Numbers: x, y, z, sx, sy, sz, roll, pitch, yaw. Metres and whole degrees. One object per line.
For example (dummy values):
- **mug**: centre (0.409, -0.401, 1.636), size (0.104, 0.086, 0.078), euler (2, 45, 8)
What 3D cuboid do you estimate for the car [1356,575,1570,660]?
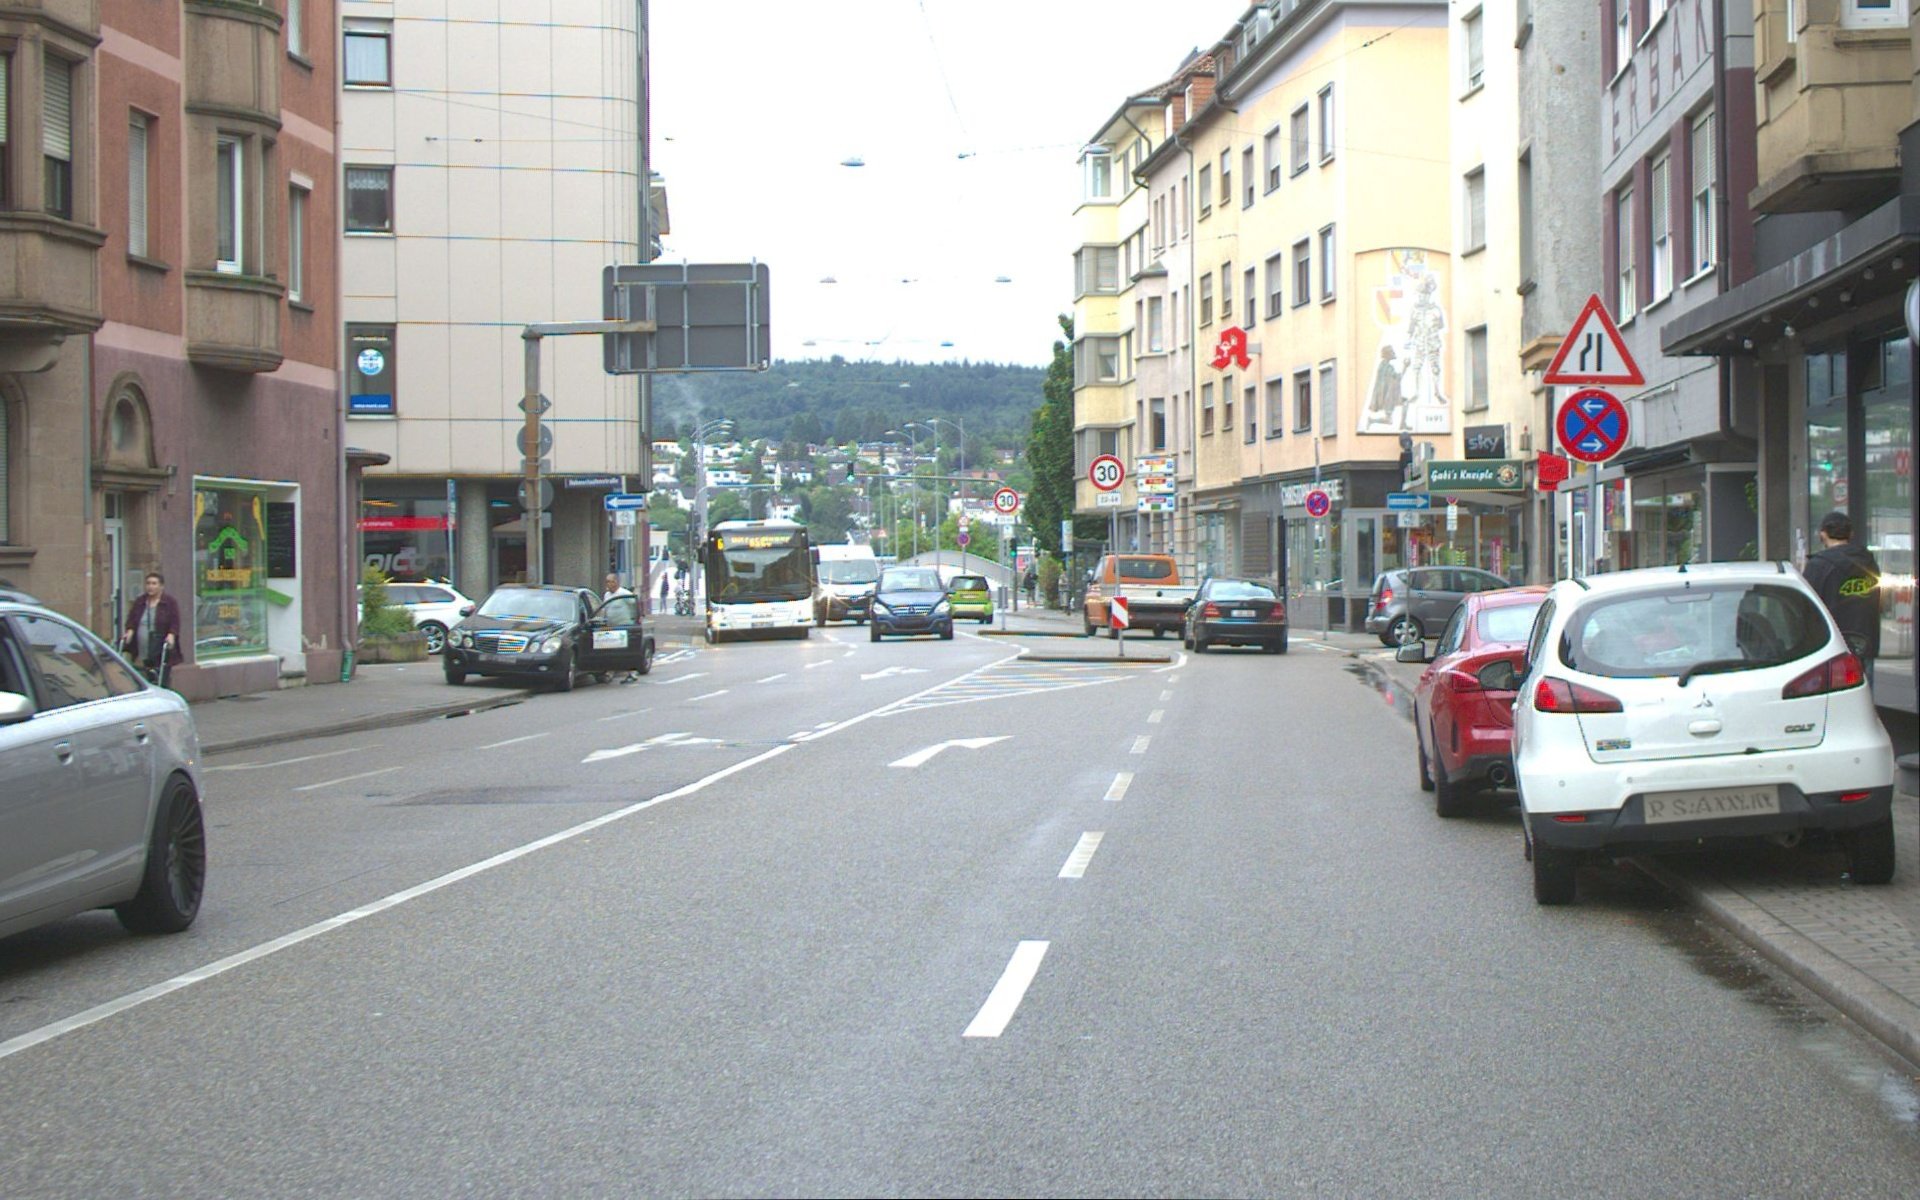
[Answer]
- **car**: centre (9.781, 0.338, 67.054), size (3.825, 1.568, 1.936), euler (-1, 0, -1)

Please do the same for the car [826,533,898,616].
- **car**: centre (-2.962, -0.750, 105.375), size (2.086, 2.427, 6.353), euler (-1, 0, -1)

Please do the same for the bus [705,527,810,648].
- **bus**: centre (-5.726, -0.314, 96.034), size (2.725, 3.178, 9.294), euler (-1, 0, -4)

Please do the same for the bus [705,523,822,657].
- **bus**: centre (-5.042, -0.222, 86.919), size (2.758, 3.178, 8.913), euler (-1, 0, -4)

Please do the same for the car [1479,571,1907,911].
- **car**: centre (3.576, 0.630, 17.443), size (1.648, 1.489, 4.447), euler (-1, 0, 6)

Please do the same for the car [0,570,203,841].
- **car**: centre (-6.460, 0.639, 21.558), size (1.981, 1.589, 4.336), euler (-1, 0, 7)

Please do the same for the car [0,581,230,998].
- **car**: centre (-4.308, 0.680, 12.740), size (1.943, 1.465, 4.559), euler (-1, 0, 4)

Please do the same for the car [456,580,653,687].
- **car**: centre (-5.808, 0.441, 49.757), size (1.850, 1.393, 4.792), euler (2, 1, 5)

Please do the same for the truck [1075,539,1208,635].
- **truck**: centre (4.145, -0.287, 79.509), size (2.399, 2.122, 5.315), euler (-1, 0, -4)

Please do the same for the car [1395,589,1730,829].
- **car**: centre (3.878, 0.649, 22.745), size (1.744, 1.364, 4.314), euler (-1, 1, 4)

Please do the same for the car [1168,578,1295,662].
- **car**: centre (4.999, 0.368, 63.752), size (1.754, 1.474, 4.000), euler (-1, 0, -4)

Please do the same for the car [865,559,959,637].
- **car**: centre (-1.093, -0.027, 75.763), size (1.754, 1.646, 4.307), euler (-1, 0, -5)

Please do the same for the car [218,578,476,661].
- **car**: centre (-11.975, 0.370, 67.202), size (4.627, 1.527, 1.906), euler (-1, 0, -24)

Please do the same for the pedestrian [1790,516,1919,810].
- **pedestrian**: centre (5.582, 0.381, 21.175), size (0.744, 1.773, 0.795), euler (-1, 0, 2)

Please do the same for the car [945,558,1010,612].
- **car**: centre (0.537, -0.457, 108.662), size (1.754, 1.646, 4.000), euler (-1, 0, -4)

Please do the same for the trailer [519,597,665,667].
- **trailer**: centre (-5.743, 0.483, 53.911), size (1.588, 0.946, 3.055), euler (4, 1, 6)

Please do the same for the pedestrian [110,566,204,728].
- **pedestrian**: centre (-8.512, 0.491, 36.459), size (0.842, 1.673, 0.853), euler (2, -1, -8)
